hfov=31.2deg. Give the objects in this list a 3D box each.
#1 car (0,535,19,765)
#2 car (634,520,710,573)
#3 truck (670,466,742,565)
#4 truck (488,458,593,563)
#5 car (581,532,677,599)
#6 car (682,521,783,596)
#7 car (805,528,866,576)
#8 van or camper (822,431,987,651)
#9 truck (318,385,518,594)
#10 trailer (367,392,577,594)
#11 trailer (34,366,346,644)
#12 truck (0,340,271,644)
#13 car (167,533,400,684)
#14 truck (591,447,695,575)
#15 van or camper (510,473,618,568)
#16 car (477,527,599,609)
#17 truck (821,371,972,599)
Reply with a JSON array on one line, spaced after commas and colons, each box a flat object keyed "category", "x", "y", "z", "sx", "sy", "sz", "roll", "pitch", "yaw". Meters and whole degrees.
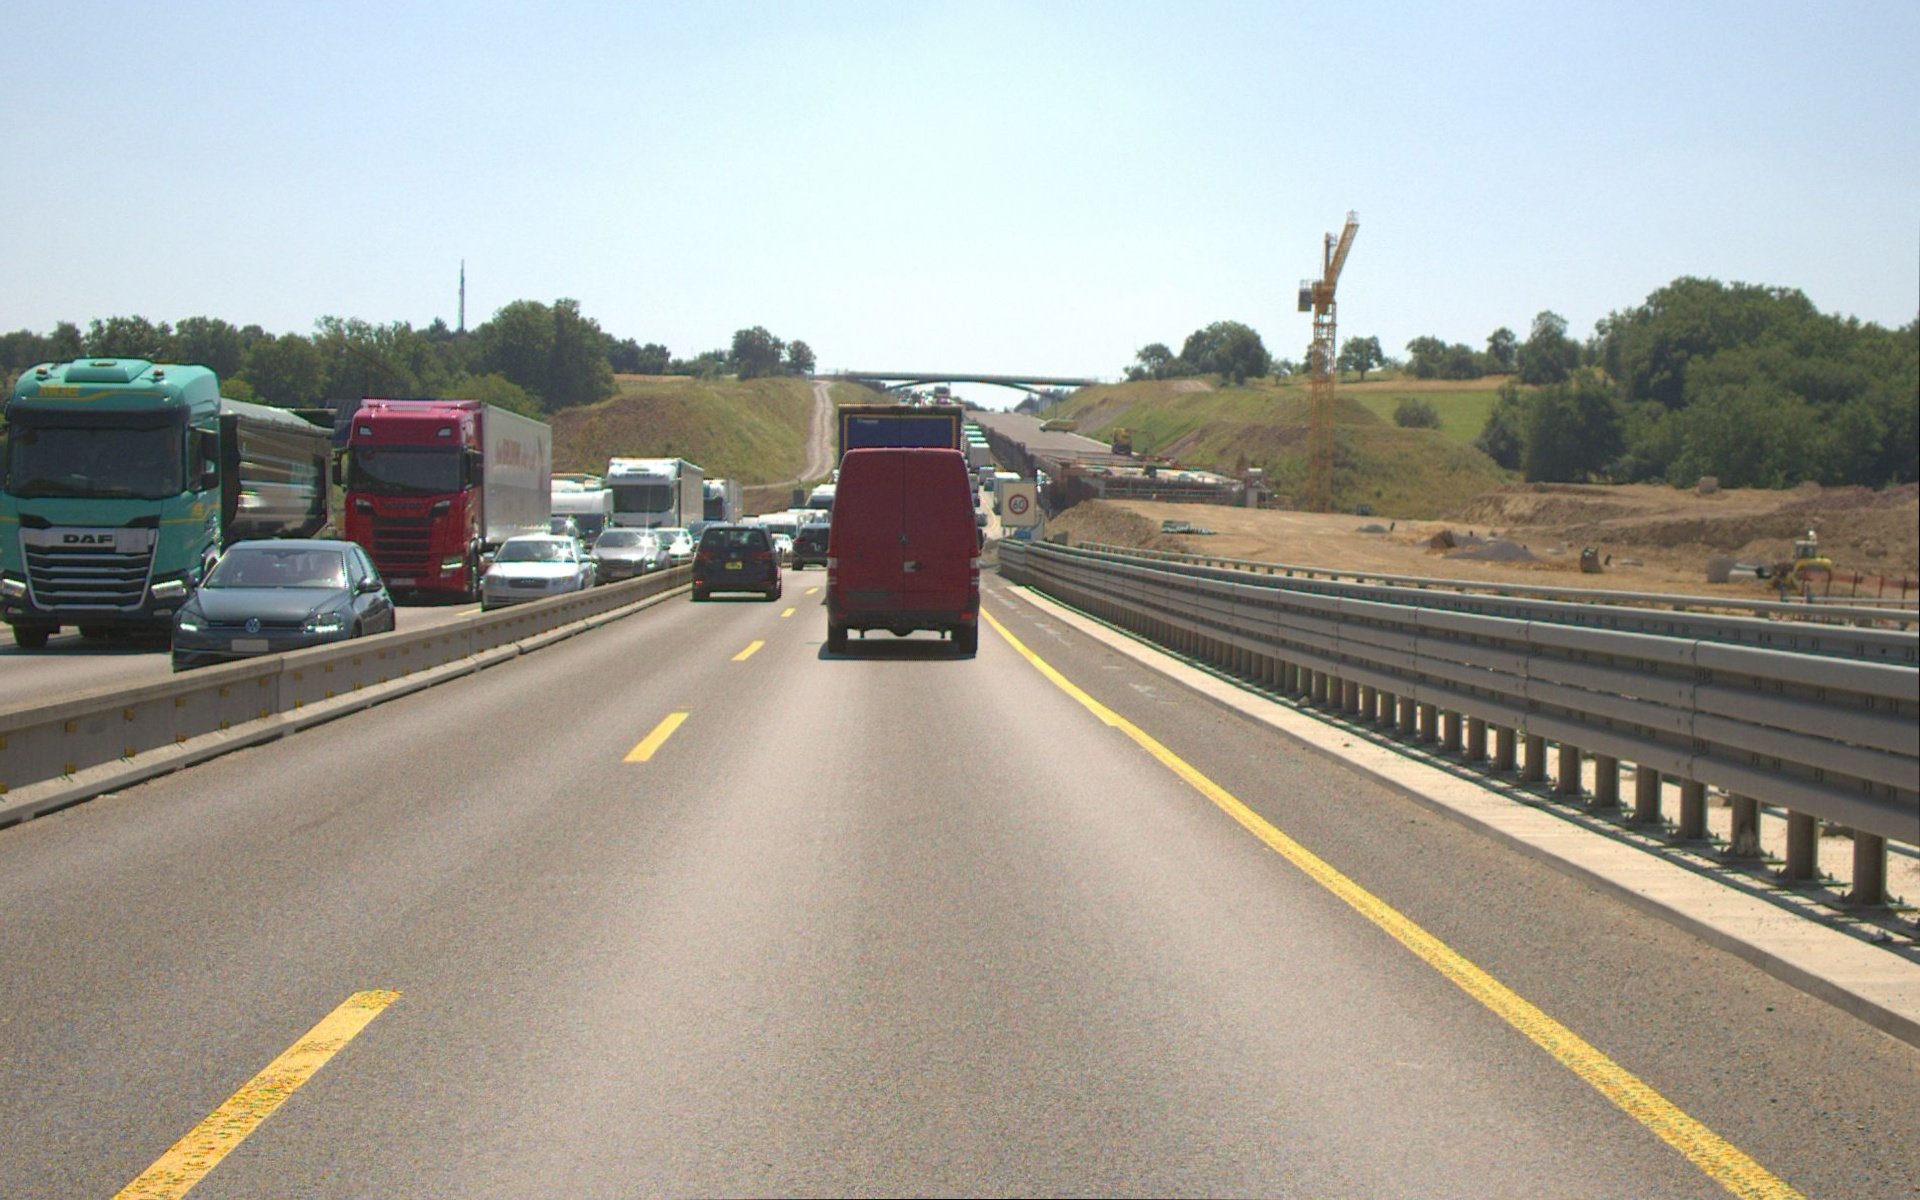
[{"category": "car", "x": -6.608, "y": 0.359, "z": 19.087, "sx": 1.679, "sy": 1.387, "sz": 4.156, "roll": -1, "pitch": 1, "yaw": -1}, {"category": "car", "x": -8.292, "y": -1.542, "z": 99.199, "sx": 1.901, "sy": 1.456, "sz": 4.194, "roll": -1, "pitch": 1, "yaw": -1}, {"category": "truck", "x": -11.529, "y": -3.850, "z": 156.543, "sx": 2.806, "sy": 4.377, "sz": 6.225, "roll": 0, "pitch": 1, "yaw": 0}, {"category": "truck", "x": -15.669, "y": -3.374, "z": 128.992, "sx": 2.904, "sy": 3.752, "sz": 8.368, "roll": 1, "pitch": 2, "yaw": -1}, {"category": "car", "x": -7.941, "y": -0.855, "z": 82.903, "sx": 1.890, "sy": 1.482, "sz": 4.920, "roll": 3, "pitch": 1, "yaw": -1}, {"category": "car", "x": -4.839, "y": -0.910, "z": 73.454, "sx": 2.012, "sy": 1.539, "sz": 4.133, "roll": 1, "pitch": 1, "yaw": -2}, {"category": "car", "x": -4.257, "y": -1.665, "z": 118.415, "sx": 2.012, "sy": 1.539, "sz": 4.133, "roll": 2, "pitch": 1, "yaw": -1}, {"category": "van or camper", "x": -0.788, "y": -0.798, "z": 45.472, "sx": 2.029, "sy": 2.735, "sz": 4.516, "roll": 1, "pitch": 1, "yaw": -3}, {"category": "truck", "x": -10.970, "y": -2.249, "z": 70.181, "sx": 2.816, "sy": 4.023, "sz": 6.522, "roll": 1, "pitch": 2, "yaw": 2}, {"category": "trailer", "x": -10.835, "y": -2.423, "z": 77.624, "sx": 2.806, "sy": 4.162, "sz": 11.799, "roll": 1, "pitch": 2, "yaw": 1}, {"category": "trailer", "x": -11.137, "y": -1.358, "z": 50.641, "sx": 2.794, "sy": 3.660, "sz": 8.958, "roll": -1, "pitch": 1, "yaw": -2}, {"category": "truck", "x": -10.998, "y": -1.391, "z": 45.342, "sx": 2.796, "sy": 3.709, "sz": 5.375, "roll": -1, "pitch": 1, "yaw": -2}, {"category": "car", "x": -6.829, "y": 0.043, "z": 35.052, "sx": 1.631, "sy": 1.403, "sz": 4.104, "roll": -1, "pitch": 1, "yaw": -1}, {"category": "truck", "x": -11.518, "y": -3.240, "z": 125.338, "sx": 3.078, "sy": 4.521, "sz": 7.103, "roll": 1, "pitch": 1, "yaw": 0}, {"category": "van or camper", "x": -11.545, "y": -2.324, "z": 100.591, "sx": 2.503, "sy": 2.689, "sz": 5.244, "roll": 0, "pitch": 1, "yaw": 0}, {"category": "car", "x": -7.504, "y": -0.605, "z": 61.489, "sx": 1.781, "sy": 1.375, "sz": 4.712, "roll": -1, "pitch": 1, "yaw": -2}, {"category": "truck", "x": -1.444, "y": -2.469, "z": 74.677, "sx": 3.020, "sy": 4.677, "sz": 6.933, "roll": -1, "pitch": 1, "yaw": -2}]
